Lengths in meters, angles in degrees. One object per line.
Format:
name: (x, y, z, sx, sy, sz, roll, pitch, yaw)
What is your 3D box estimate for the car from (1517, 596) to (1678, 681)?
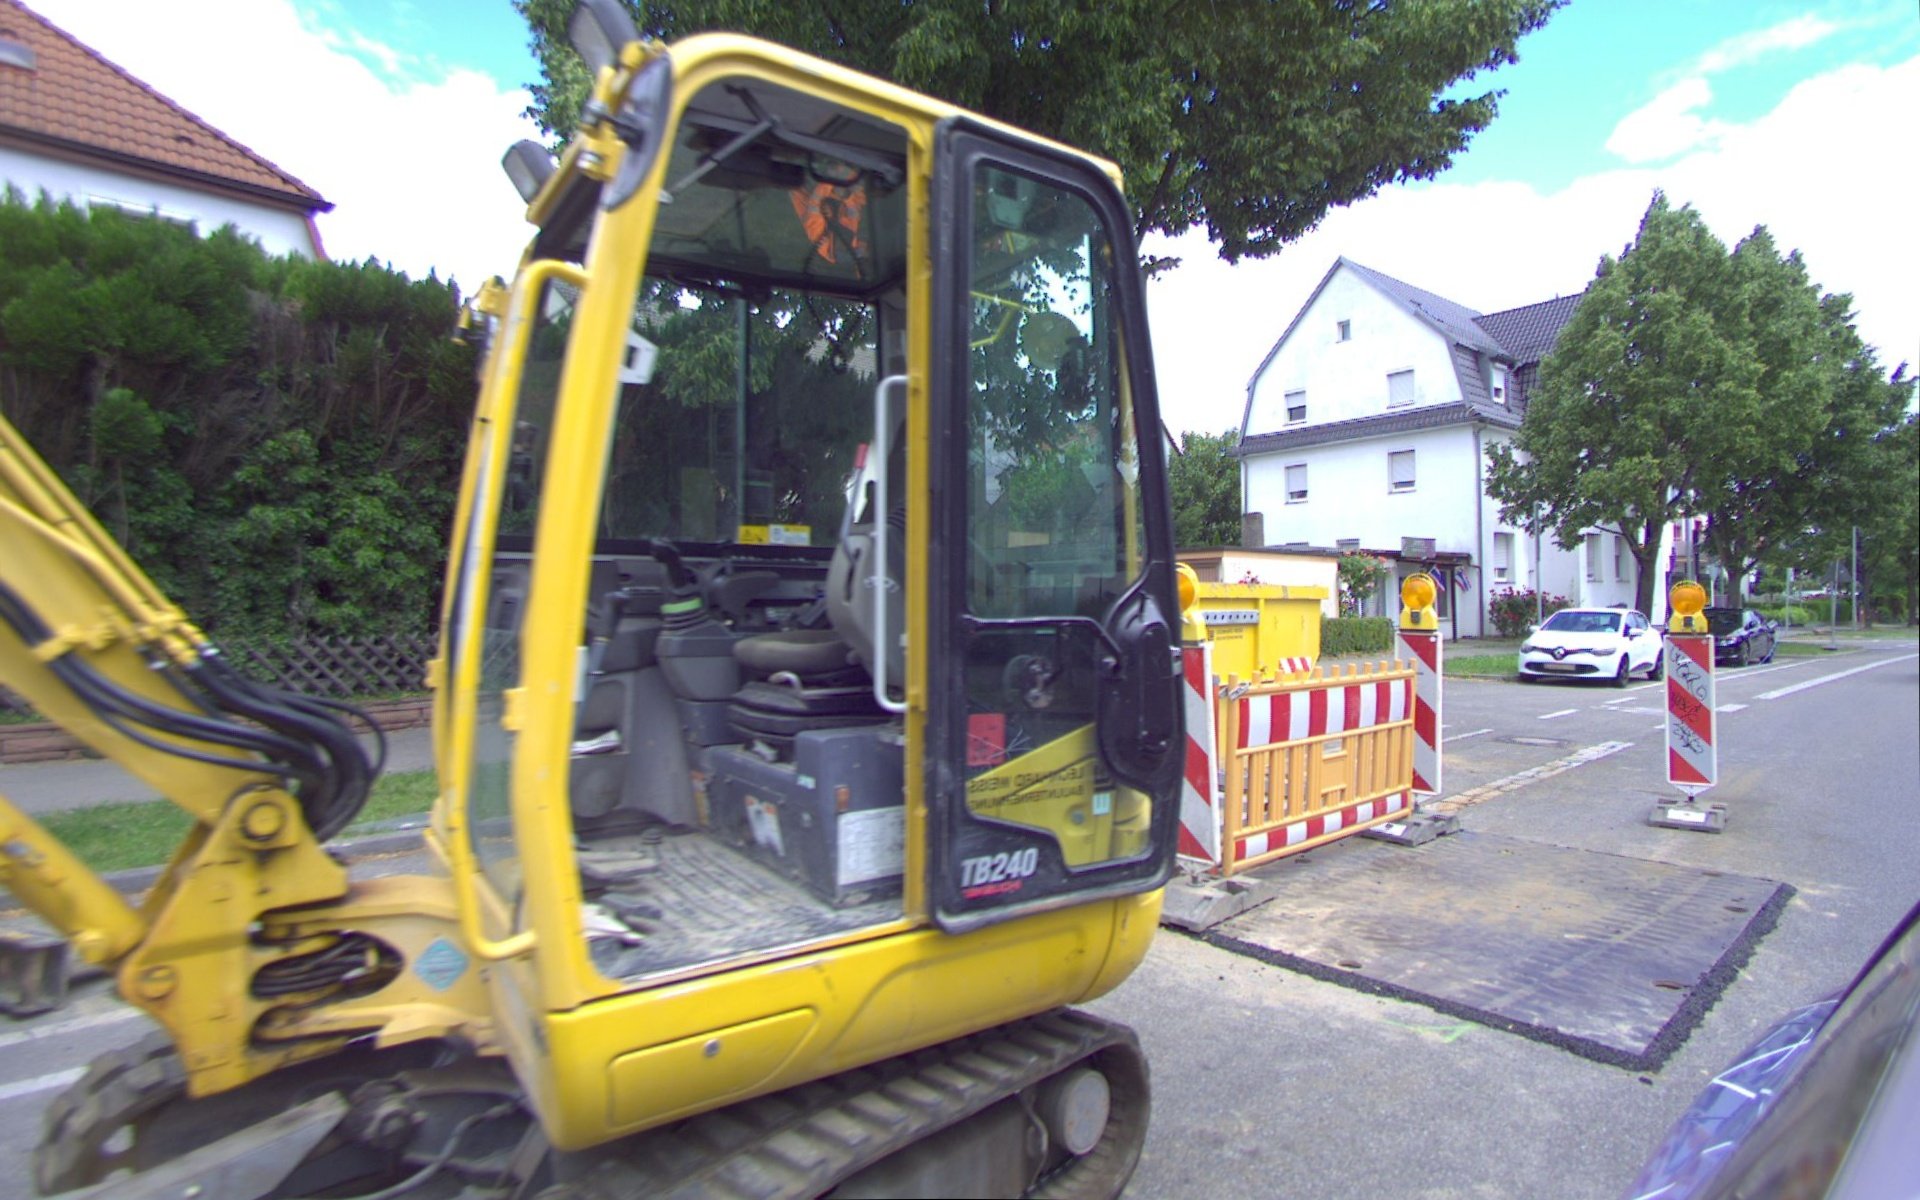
car: (12.396, 0.674, 19.595, 3.932, 1.481, 1.674, 0, 0, -42)

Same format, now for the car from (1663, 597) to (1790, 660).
car: (19.728, 0.658, 25.981, 4.535, 1.473, 1.708, 0, 0, -41)

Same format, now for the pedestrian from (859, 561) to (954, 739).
pedestrian: (-0.523, 0.466, 9.901, 0.632, 1.655, 0.705, 0, -1, -42)

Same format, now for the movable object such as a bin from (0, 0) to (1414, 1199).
movable object such as a bin: (-0.798, 0.067, 2.026, 3.675, 2.607, 1.770, 0, -1, -42)

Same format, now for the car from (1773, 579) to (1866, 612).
car: (71.536, -0.315, 84.291, 1.964, 2.625, 5.718, 1, -1, -43)

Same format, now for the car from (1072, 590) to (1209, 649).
car: (4.980, 0.496, 27.628, 3.932, 1.481, 1.674, 0, 0, -42)
